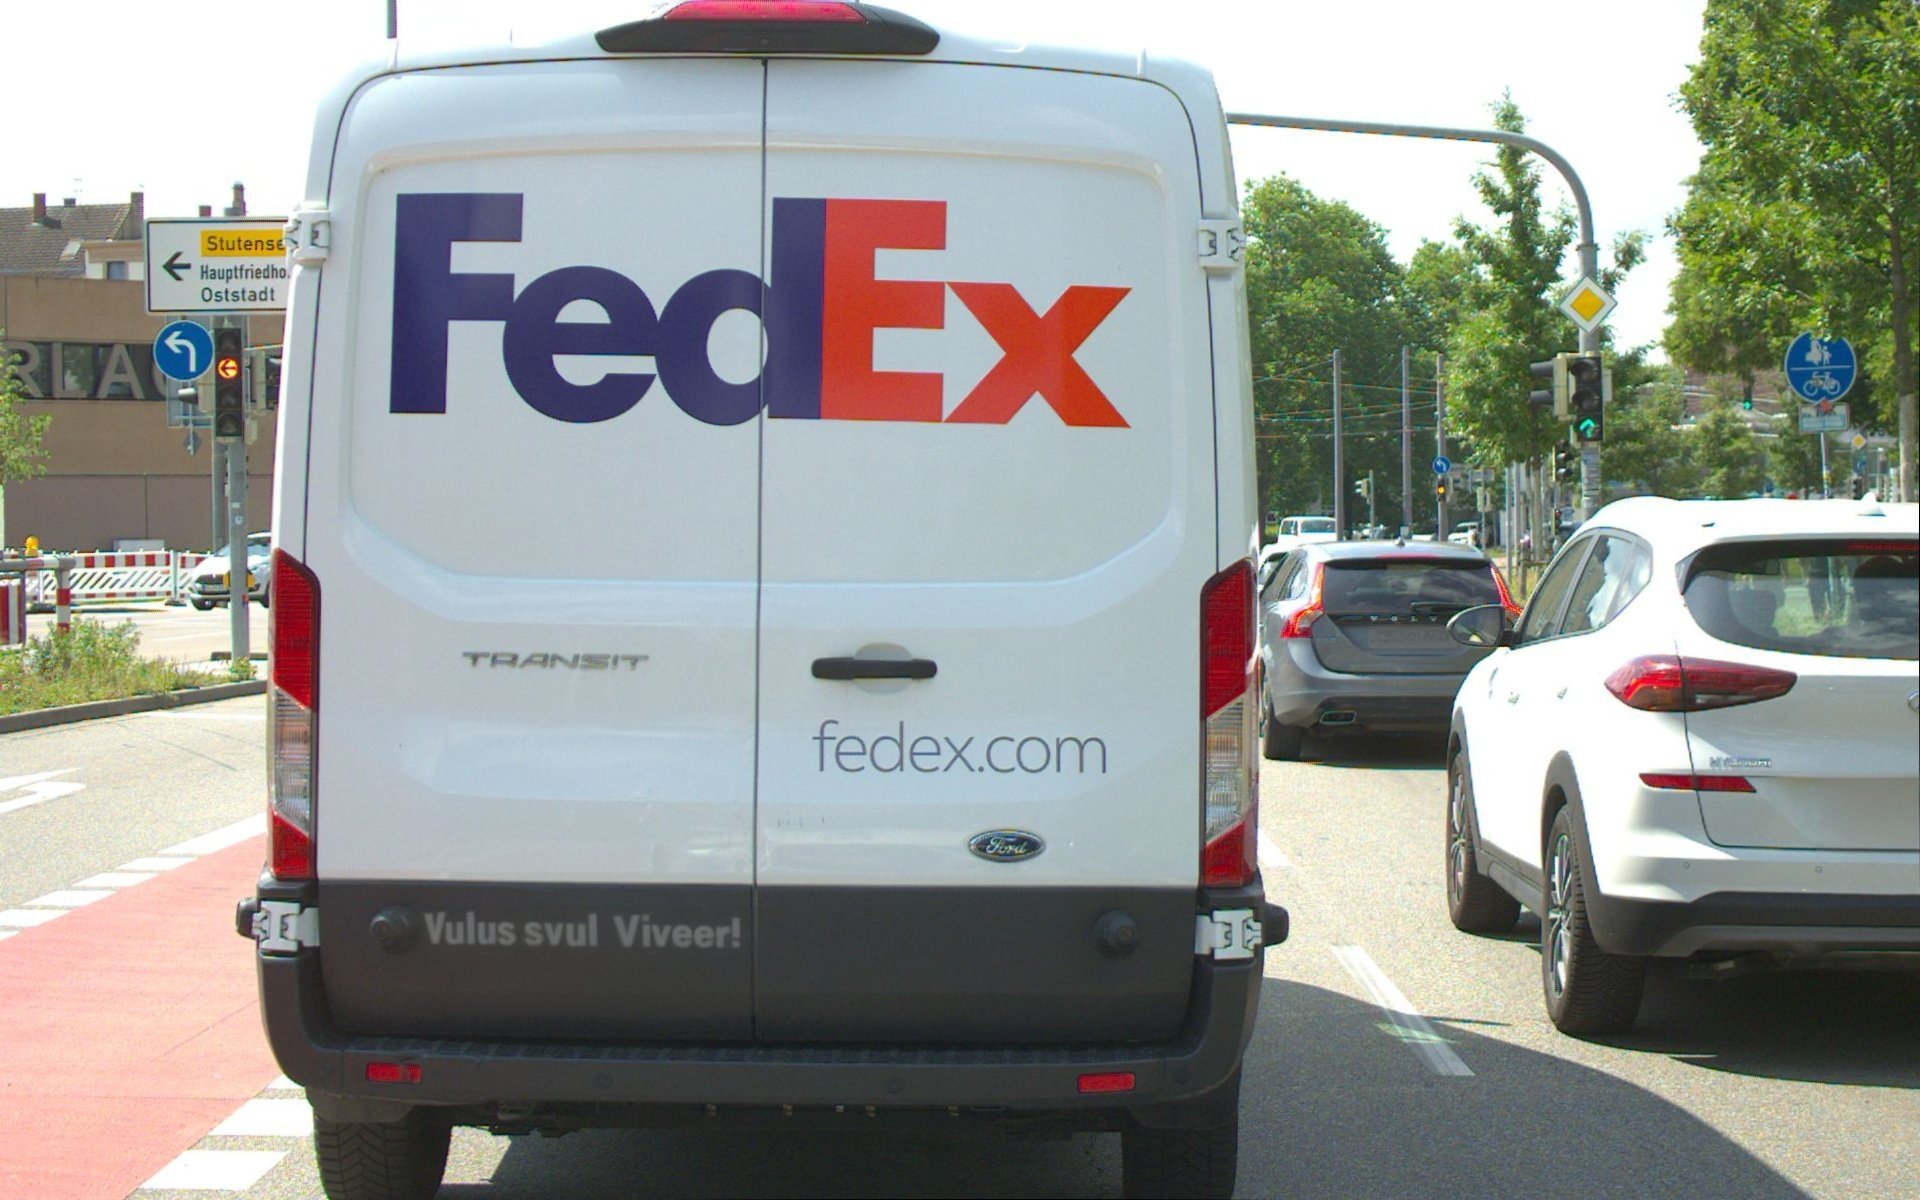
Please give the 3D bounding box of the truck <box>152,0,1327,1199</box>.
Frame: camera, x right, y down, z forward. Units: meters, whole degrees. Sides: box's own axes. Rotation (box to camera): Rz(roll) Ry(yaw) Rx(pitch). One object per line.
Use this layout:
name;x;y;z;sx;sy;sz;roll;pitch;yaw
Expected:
truck;-0.441;0.019;9.275;2.137;2.631;5.918;1;1;-1

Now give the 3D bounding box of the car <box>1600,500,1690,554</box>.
car;21.231;-2.279;106.445;1.883;1.635;3.952;0;2;25

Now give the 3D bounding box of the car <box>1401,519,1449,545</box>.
car;29.059;-4.251;214.843;1.996;1.568;4.173;1;1;21

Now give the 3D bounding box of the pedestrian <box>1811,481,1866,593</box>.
pedestrian;14.350;-1.034;56.184;0.750;1.796;0.609;-2;1;6

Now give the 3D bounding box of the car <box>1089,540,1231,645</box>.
car;3.128;-0.144;53.068;1.882;1.501;4.154;1;2;8

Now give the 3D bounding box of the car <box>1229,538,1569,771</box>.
car;2.915;0.308;23.585;1.915;1.415;3.918;-1;1;1

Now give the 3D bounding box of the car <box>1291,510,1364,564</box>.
car;14.189;-2.418;132.638;1.995;2.007;4.119;1;1;17

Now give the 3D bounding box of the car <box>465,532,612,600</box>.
car;-9.652;-0.794;79.018;1.995;1.481;3.903;0;1;15

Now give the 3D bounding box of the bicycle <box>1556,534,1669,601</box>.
bicycle;11.142;-0.558;58.772;1.810;1.046;0.591;-3;0;7

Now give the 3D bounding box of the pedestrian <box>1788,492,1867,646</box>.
pedestrian;10.032;-0.362;39.746;0.666;1.740;0.609;-2;1;-6

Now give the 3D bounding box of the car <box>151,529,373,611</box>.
car;-13.272;-0.567;65.594;1.997;1.503;4.010;1;1;30

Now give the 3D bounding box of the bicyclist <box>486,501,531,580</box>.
bicyclist;-9.345;-1.231;71.186;0.776;1.613;0.843;-1;1;3

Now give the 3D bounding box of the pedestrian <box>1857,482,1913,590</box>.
pedestrian;15.152;-1.050;56.333;0.750;1.746;0.609;-2;1;6

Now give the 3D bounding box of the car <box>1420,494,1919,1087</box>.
car;2.730;0.471;11.605;1.881;1.635;4.233;-1;1;1

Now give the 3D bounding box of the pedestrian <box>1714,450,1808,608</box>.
pedestrian;9.201;-0.821;39.523;0.749;1.771;0.882;-2;1;-6

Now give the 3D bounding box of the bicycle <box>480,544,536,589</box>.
bicycle;-9.337;-0.693;71.141;0.776;0.886;2.108;-1;1;3

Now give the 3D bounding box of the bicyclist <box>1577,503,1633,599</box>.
bicyclist;11.029;-0.829;58.782;0.828;1.596;0.579;-3;0;7
